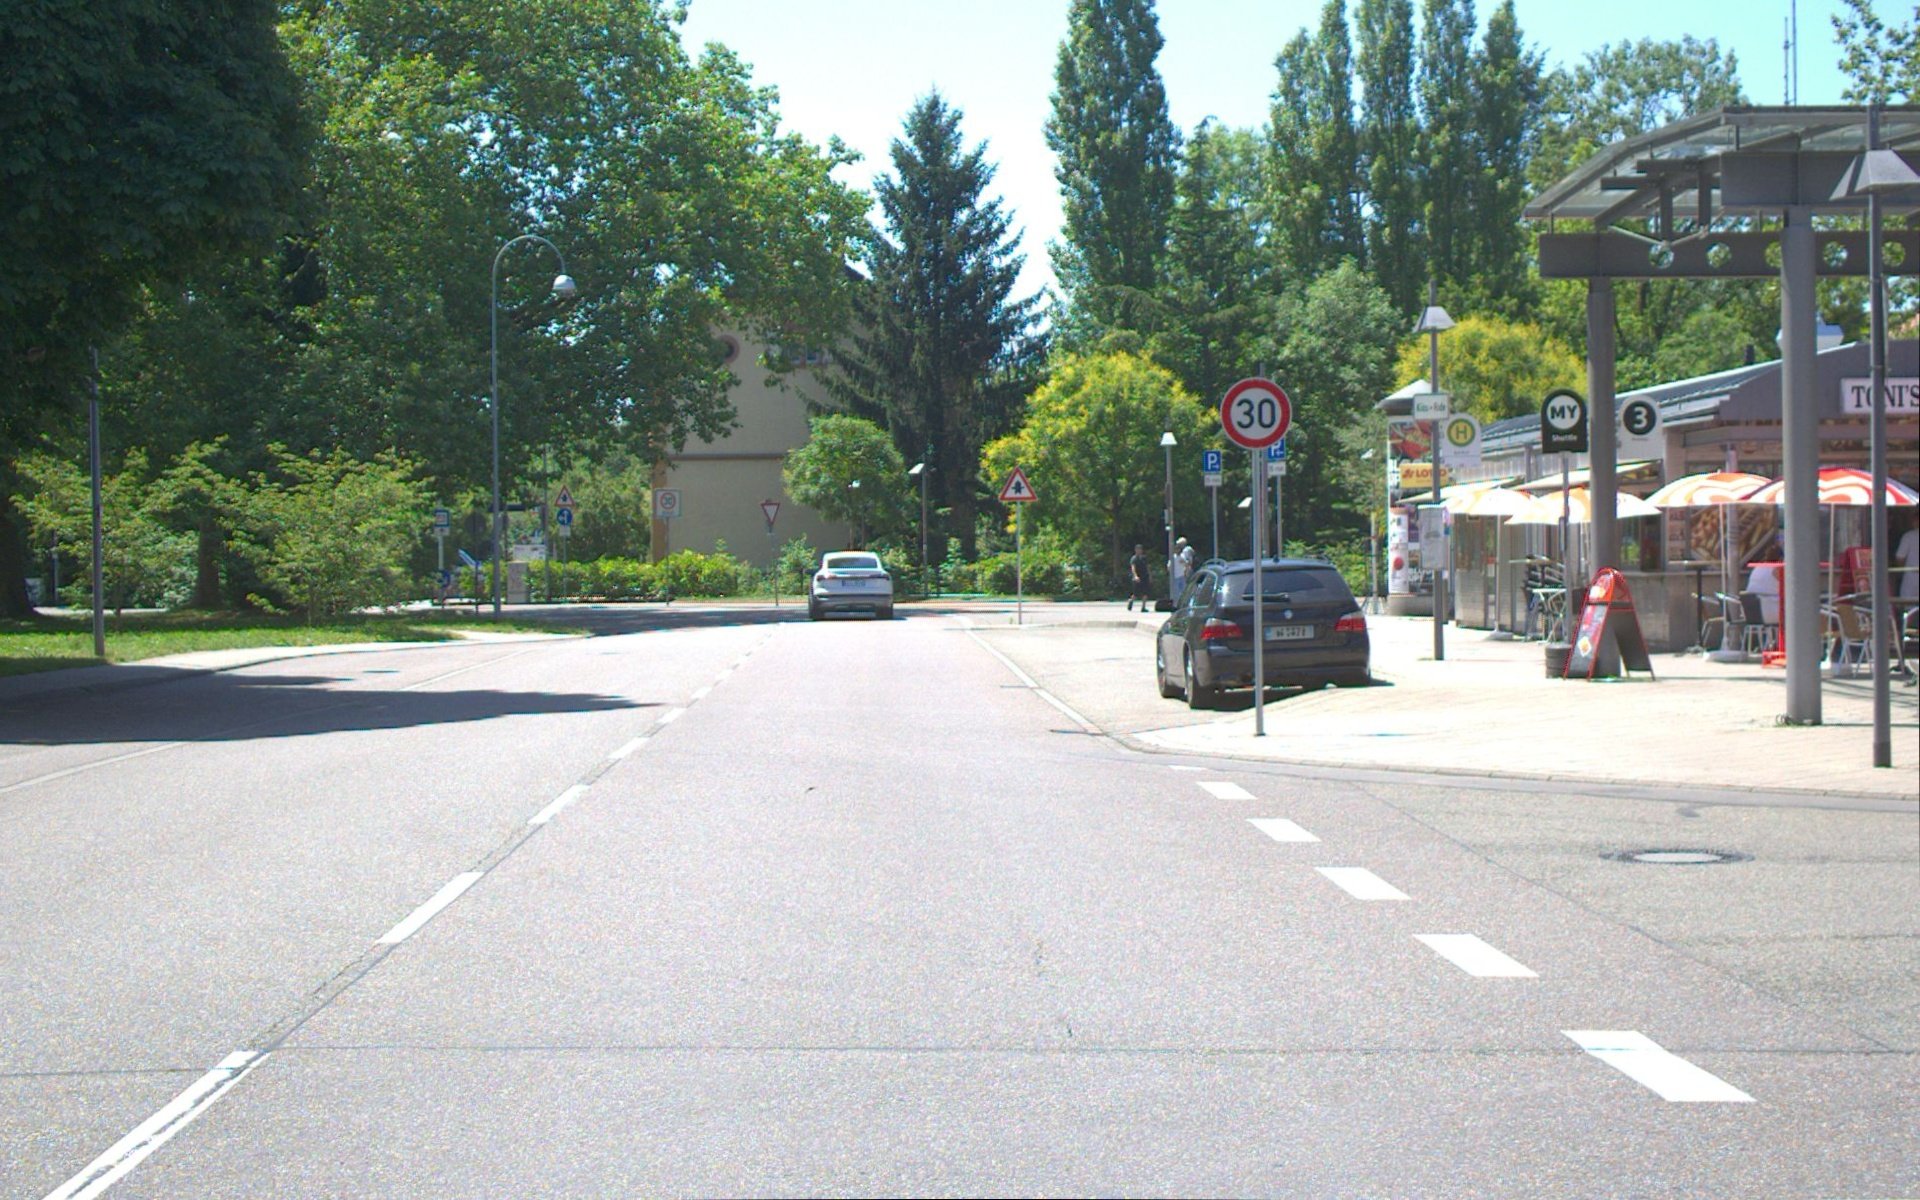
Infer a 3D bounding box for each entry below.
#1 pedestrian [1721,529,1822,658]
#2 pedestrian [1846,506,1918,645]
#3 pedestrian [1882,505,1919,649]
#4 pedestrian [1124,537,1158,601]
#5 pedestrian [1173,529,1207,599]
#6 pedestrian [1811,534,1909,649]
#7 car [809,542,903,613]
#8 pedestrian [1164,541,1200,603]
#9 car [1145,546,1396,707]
[{"bbox_3d":[9.004,-0.081,38.151,0.892,1.413,0.688,-1,1,-39],"label":"pedestrian"},{"bbox_3d":[11.566,-0.308,43.151,0.686,1.732,0.707,-1,1,-1],"label":"pedestrian"},{"bbox_3d":[11.614,-0.280,41.619,0.686,1.732,0.707,0,0,-1],"label":"pedestrian"},{"bbox_3d":[4.762,-0.814,90.375,0.636,1.644,0.750,0,-1,27],"label":"pedestrian"},{"bbox_3d":[6.457,-1.005,96.493,0.854,1.959,0.806,0,1,-4],"label":"pedestrian"},{"bbox_3d":[10.412,-0.104,39.773,0.892,1.308,0.688,-1,1,-36],"label":"pedestrian"},{"bbox_3d":[-2.490,-0.574,83.470,1.983,1.621,4.778,-1,1,2],"label":"car"},{"bbox_3d":[5.941,-0.752,91.959,0.721,1.644,0.750,0,-1,27],"label":"pedestrian"},{"bbox_3d":[3.156,0.228,35.882,1.926,1.455,4.725,-3,1,-2],"label":"car"}]
